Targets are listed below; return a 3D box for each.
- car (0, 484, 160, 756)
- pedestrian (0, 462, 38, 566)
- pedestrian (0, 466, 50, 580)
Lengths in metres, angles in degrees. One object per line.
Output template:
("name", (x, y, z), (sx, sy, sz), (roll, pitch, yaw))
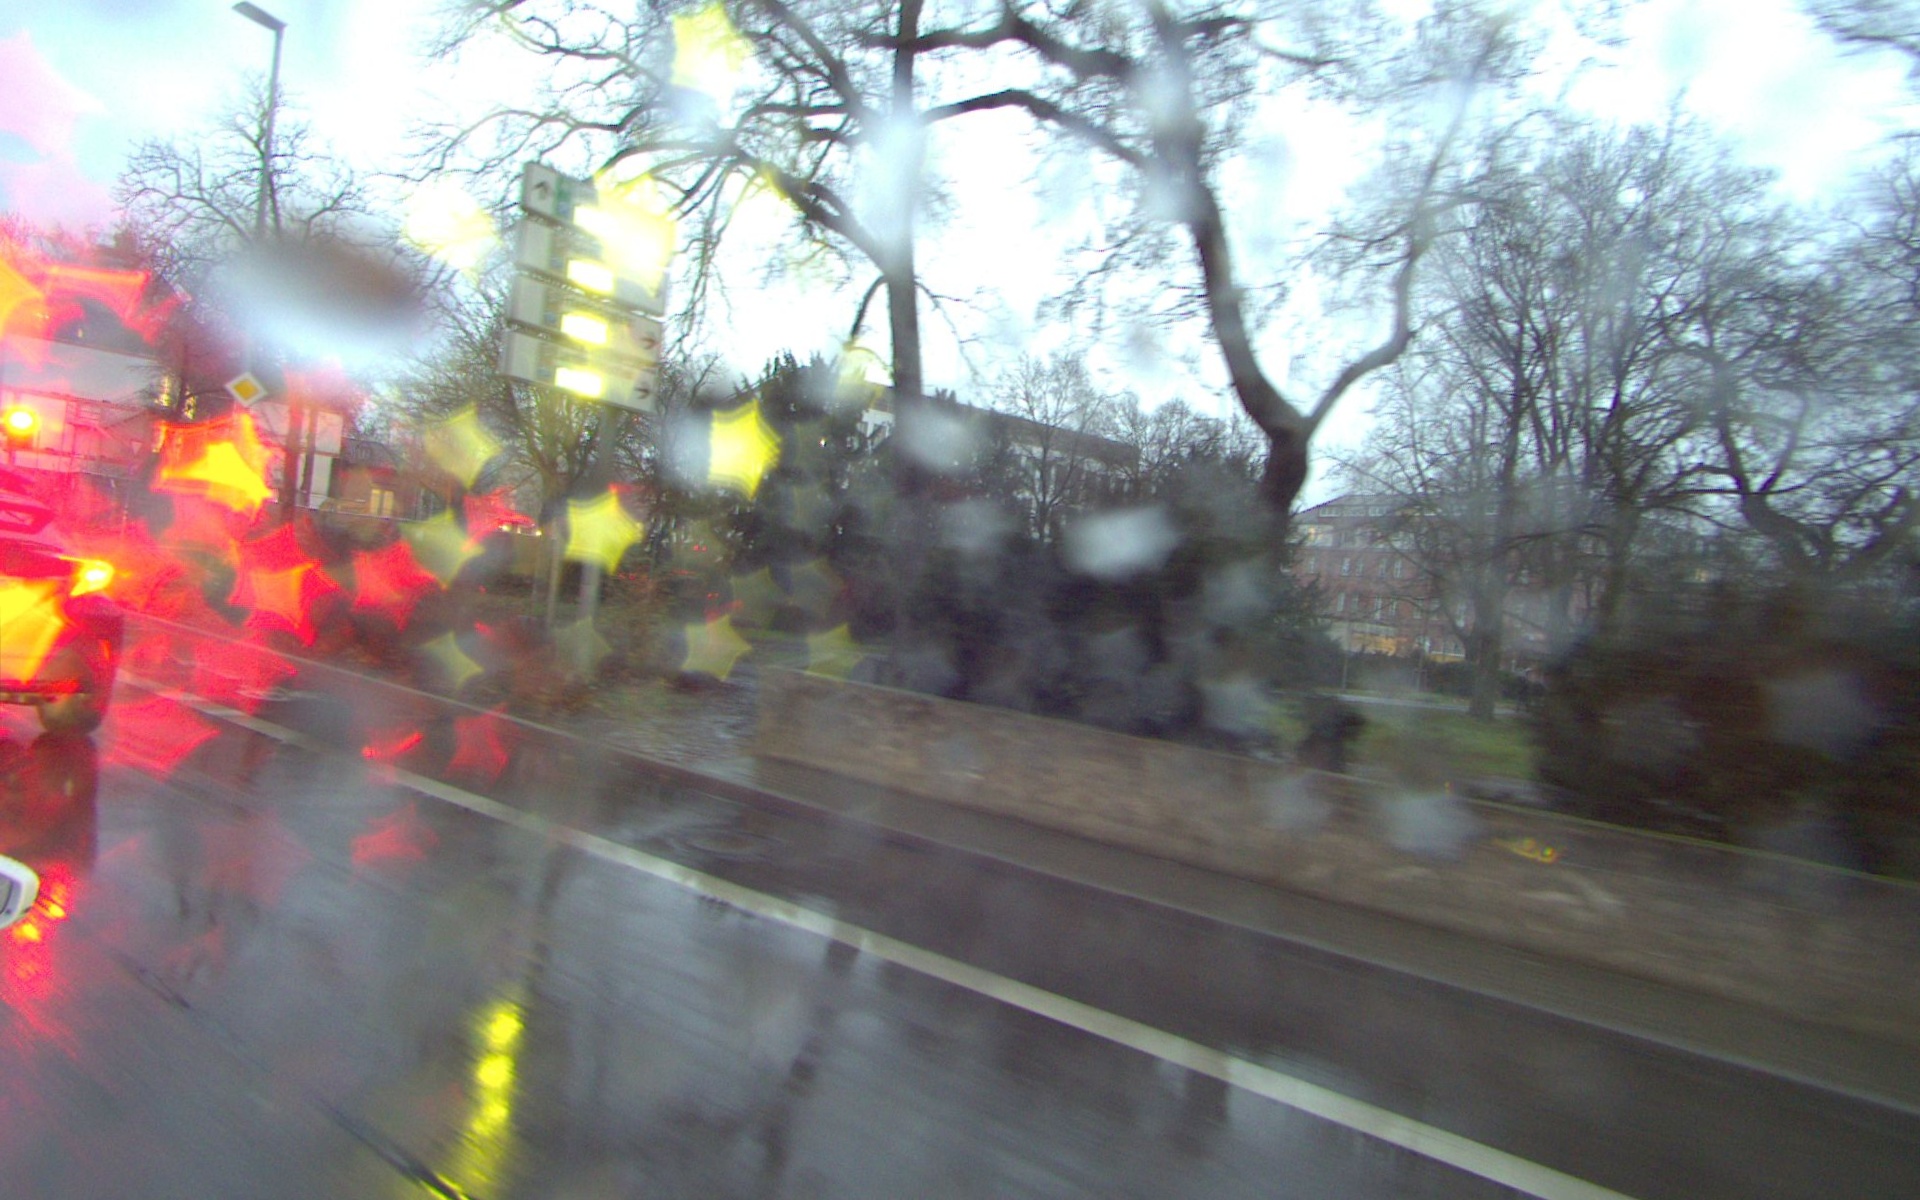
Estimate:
("car", (-7.113, -0.091, 6.478), (3.831, 1.529, 1.802), (7, 0, 32))
("pedestrian", (-19.585, -1.775, 20.250), (0.988, 2.039, 0.962), (7, 1, 9))
("pedestrian", (-17.924, -1.472, 18.910), (0.993, 2.039, 0.958), (8, 1, 40))
